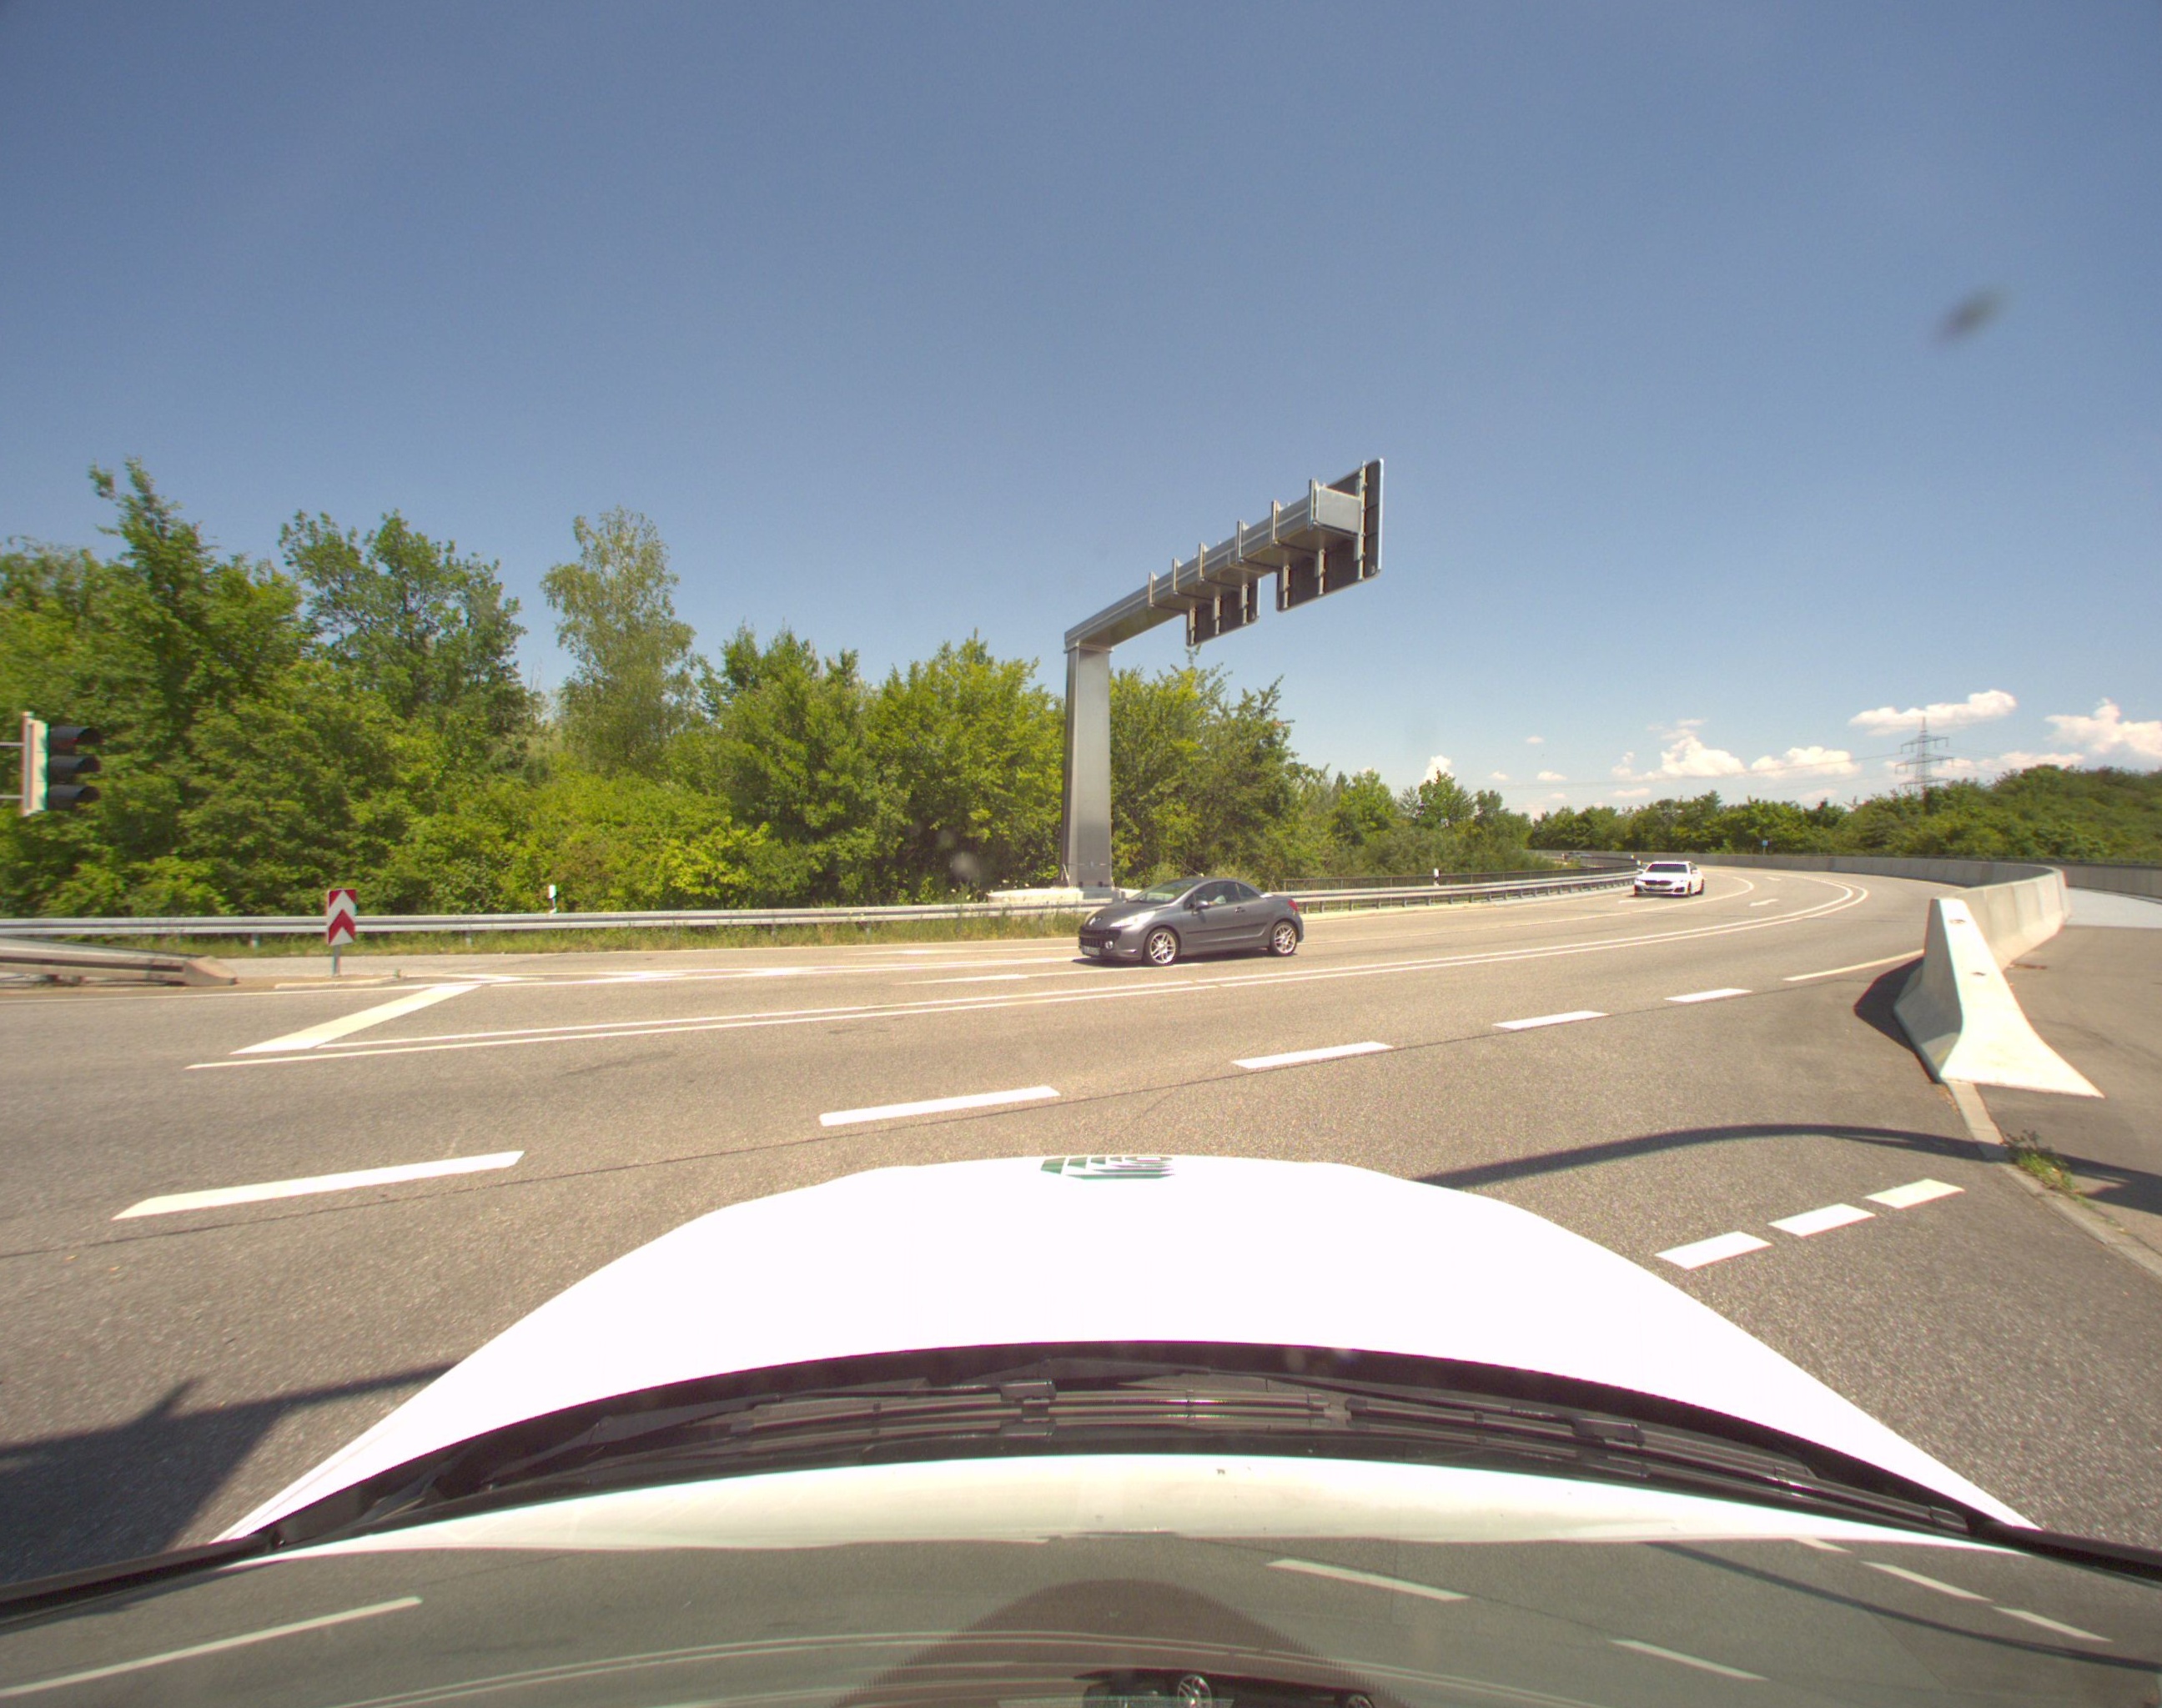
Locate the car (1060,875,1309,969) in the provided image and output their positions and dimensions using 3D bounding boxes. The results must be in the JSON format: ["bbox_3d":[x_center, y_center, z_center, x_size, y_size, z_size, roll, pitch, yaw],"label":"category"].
[{"bbox_3d":[1.793,1.077,13.833,3.979,1.352,1.635,0,-3,-29],"label":"car"}]

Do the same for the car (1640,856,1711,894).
[{"bbox_3d":[25.077,0.889,34.268,1.820,1.484,4.866,-3,-3,43],"label":"car"}]
